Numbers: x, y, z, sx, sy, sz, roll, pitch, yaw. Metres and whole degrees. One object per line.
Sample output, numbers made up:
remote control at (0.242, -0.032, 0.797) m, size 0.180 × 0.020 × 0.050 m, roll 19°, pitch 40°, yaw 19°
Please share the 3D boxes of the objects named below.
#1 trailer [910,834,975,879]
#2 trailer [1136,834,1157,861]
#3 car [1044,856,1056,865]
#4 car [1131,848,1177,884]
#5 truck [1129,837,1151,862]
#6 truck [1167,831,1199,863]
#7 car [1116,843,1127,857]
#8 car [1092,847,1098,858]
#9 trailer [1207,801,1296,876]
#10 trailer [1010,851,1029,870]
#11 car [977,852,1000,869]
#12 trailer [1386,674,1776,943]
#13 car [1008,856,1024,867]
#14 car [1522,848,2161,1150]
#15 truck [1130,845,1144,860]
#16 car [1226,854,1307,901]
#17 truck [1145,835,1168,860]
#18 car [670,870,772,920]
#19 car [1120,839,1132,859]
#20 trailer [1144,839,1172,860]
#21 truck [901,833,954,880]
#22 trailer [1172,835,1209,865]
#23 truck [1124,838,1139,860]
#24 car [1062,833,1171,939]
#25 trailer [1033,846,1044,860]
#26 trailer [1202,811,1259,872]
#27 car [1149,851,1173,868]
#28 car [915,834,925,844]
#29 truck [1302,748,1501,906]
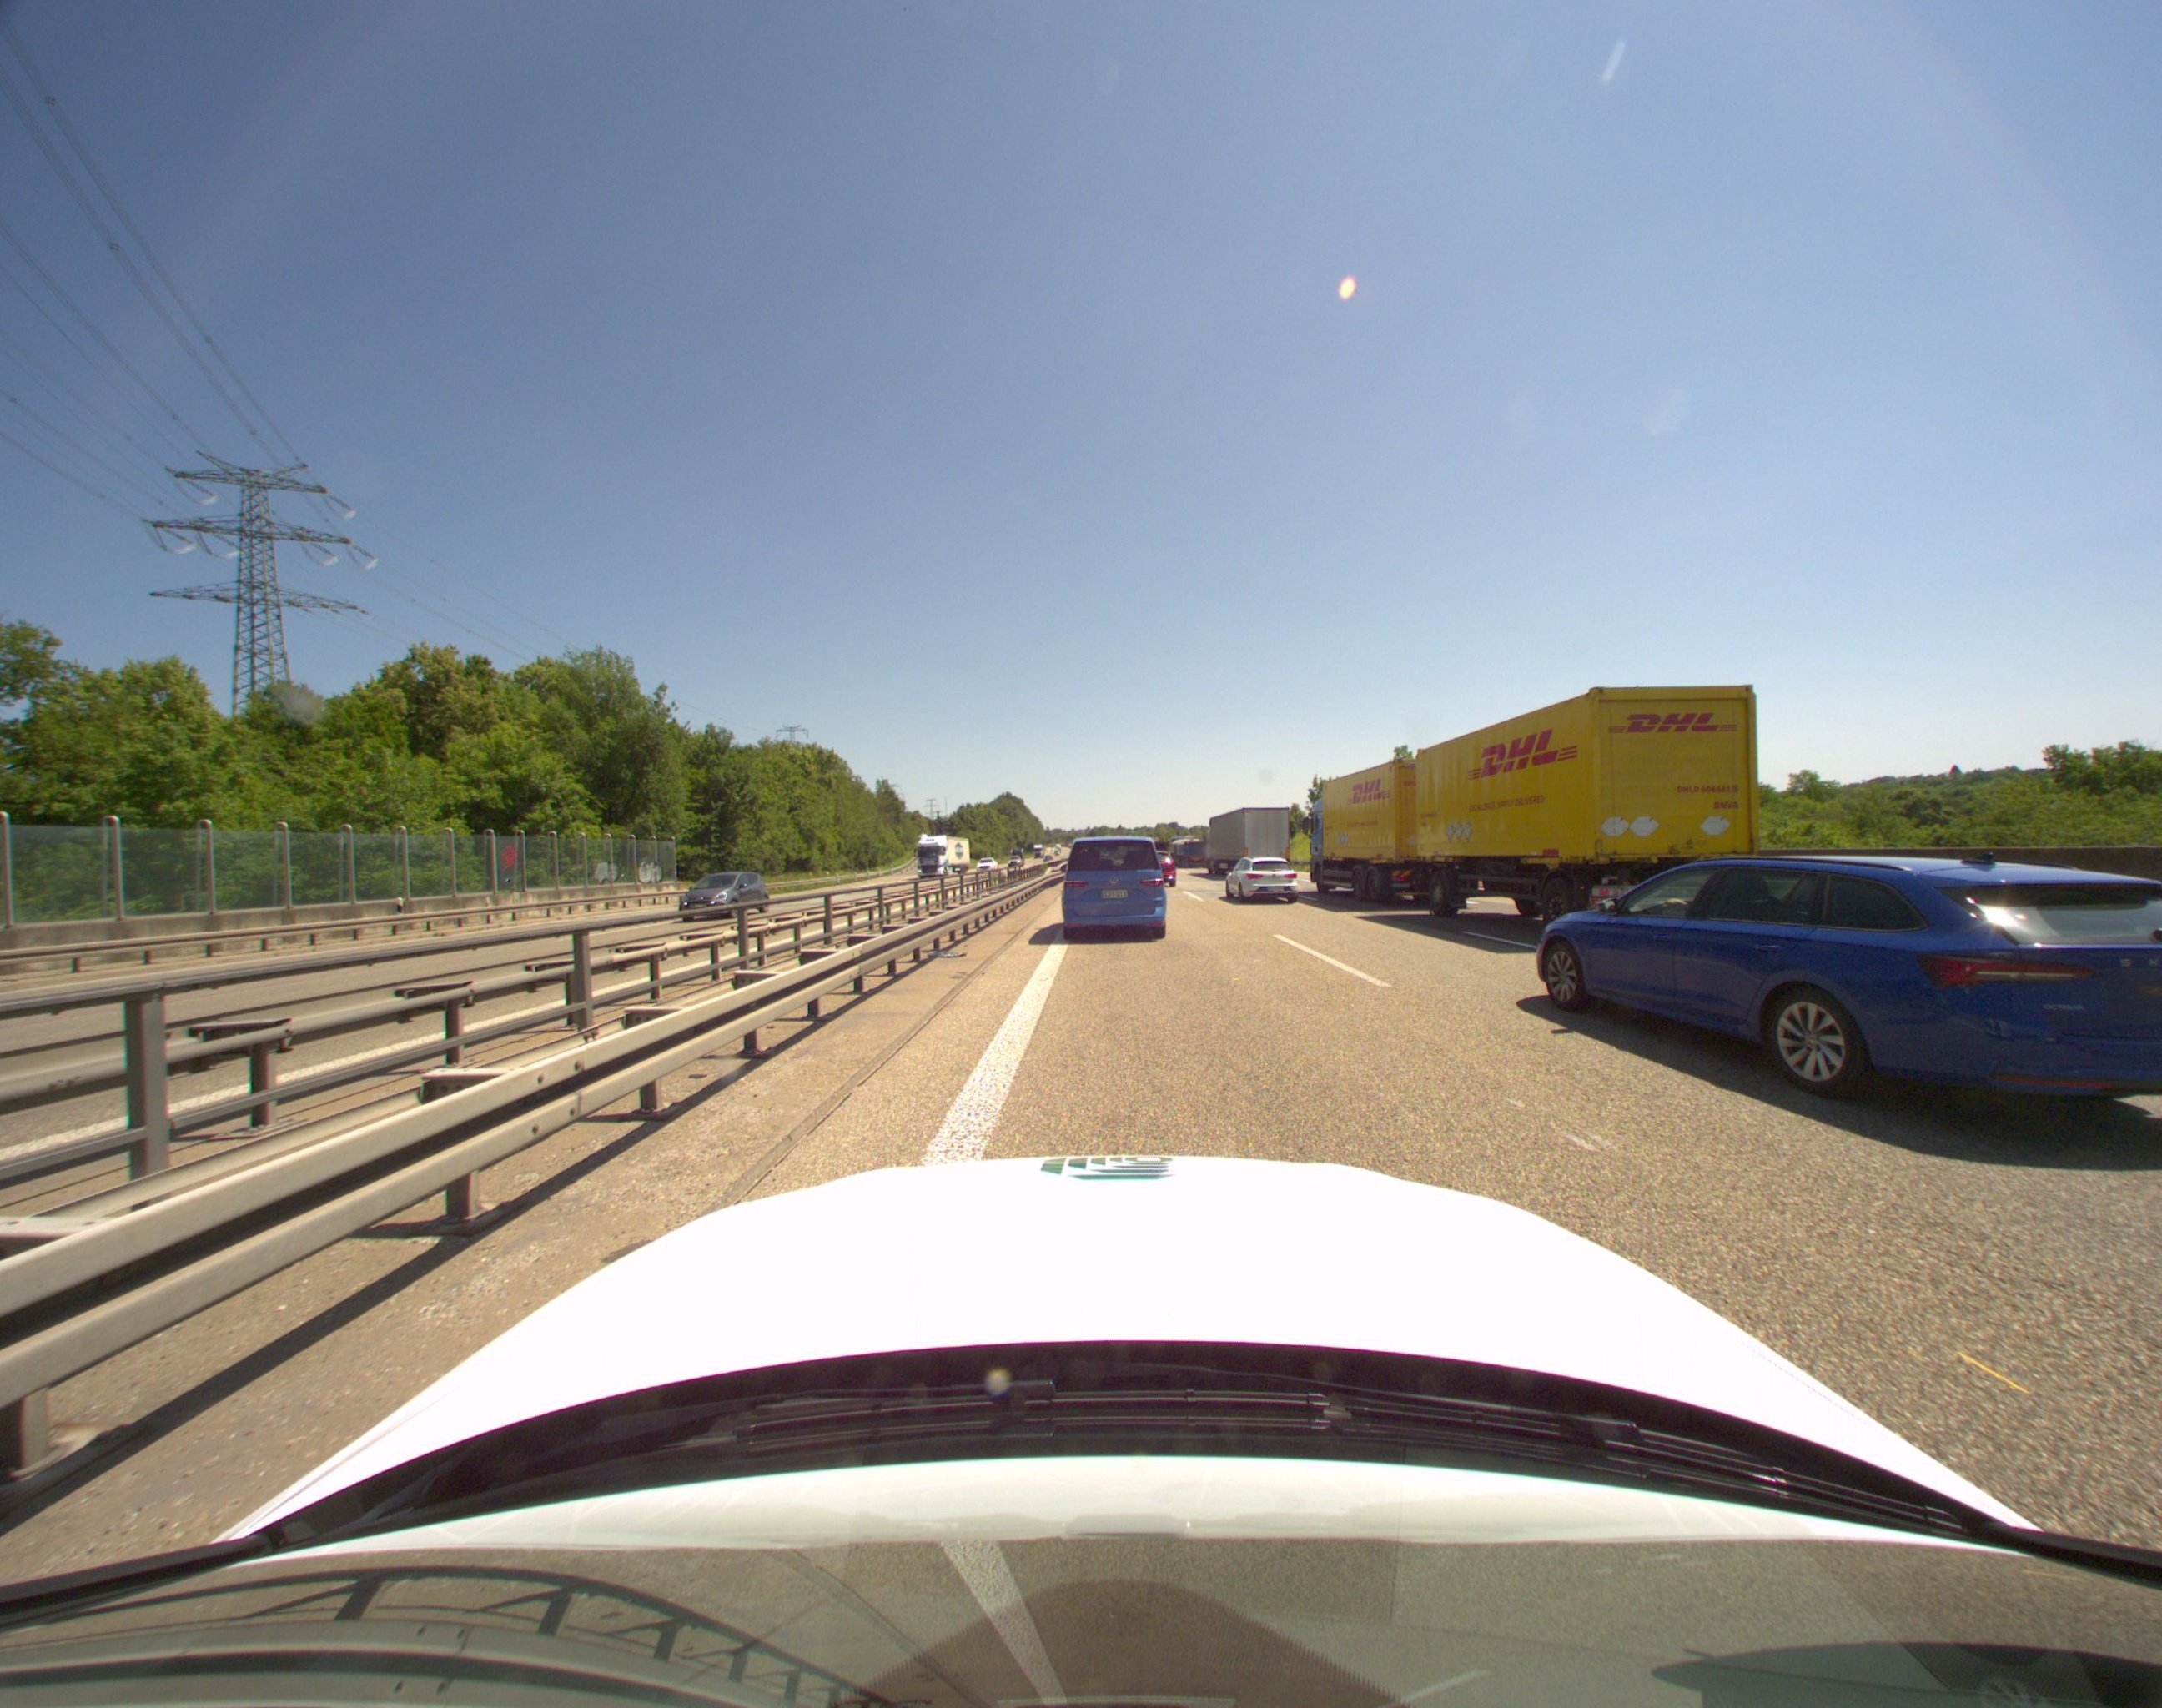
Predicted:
trailer at (-14.510, 0.301, 87.007) m, size 3.974 × 4.235 × 14.045 m, roll -2°, pitch -1°, yaw 2°
trailer at (12.639, -1.131, 158.663) m, size 3.631 × 5.136 × 13.085 m, roll 0°, pitch -1°, yaw 3°
car at (-5.496, 1.203, 144.309) m, size 1.785 × 1.572 × 4.002 m, roll 0°, pitch -1°, yaw 2°
car at (3.311, 0.550, 37.730) m, size 1.864 × 1.552 × 4.001 m, roll 0°, pitch -1°, yaw 1°
truck at (12.818, -0.868, 179.133) m, size 3.610 × 5.212 × 15.684 m, roll 0°, pitch -1°, yaw 0°
truck at (11.125, -0.816, 89.554) m, size 2.734 × 3.311 × 7.135 m, roll 0°, pitch 1°, yaw 1°
car at (8.544, -0.854, 172.400) m, size 2.276 × 3.008 × 5.579 m, roll 0°, pitch -1°, yaw 4°
car at (4.426, -0.364, 257.739) m, size 1.987 × 3.413 × 4.000 m, roll 0°, pitch -1°, yaw 1°
trailer at (10.358, -0.845, 51.289) m, size 2.952 × 4.049 × 13.755 m, roll -1°, pitch 0°, yaw 1°
trailer at (-9.614, 1.050, 128.195) m, size 2.158 × 2.777 × 5.378 m, roll -5°, pitch -1°, yaw 2°
car at (-9.835, 0.714, 86.622) m, size 1.742 × 1.696 × 4.387 m, roll -3°, pitch -1°, yaw 2°
trailer at (9.418, -0.686, 17.192) m, size 2.755 × 4.117 × 9.381 m, roll 0°, pitch 0°, yaw 2°
car at (-9.772, 1.099, 123.241) m, size 1.863 × 1.625 × 4.630 m, roll 0°, pitch -1°, yaw 2°
car at (5.307, 0.711, 6.109) m, size 1.700 × 1.441 × 4.429 m, roll 0°, pitch -1°, yaw 2°
truck at (7.375, -0.187, 107.387) m, size 1.719 × 1.857 × 4.000 m, roll 0°, pitch -1°, yaw 1°
car at (5.846, 0.694, 26.135) m, size 1.860 × 1.361 × 4.002 m, roll 0°, pitch 0°, yaw 2°
truck at (12.530, -1.037, 136.455) m, size 3.610 × 4.094 × 7.530 m, roll 0°, pitch -1°, yaw 3°
car at (-11.860, 1.306, 27.062) m, size 1.646 × 1.462 × 3.543 m, roll -3°, pitch -1°, yaw 2°
car at (12.419, -1.378, 226.193) m, size 3.207 × 5.257 × 8.145 m, roll 0°, pitch -1°, yaw 1°
trailer at (12.022, -0.591, 128.443) m, size 3.631 × 3.079 × 15.783 m, roll 0°, pitch 0°, yaw 3°
truck at (-14.778, 0.261, 78.827) m, size 3.992 × 4.228 × 4.859 m, roll -2°, pitch -1°, yaw 1°
trailer at (10.962, -0.432, 82.291) m, size 2.734 × 2.836 × 9.118 m, roll 0°, pitch 1°, yaw 1°
truck at (12.107, -1.139, 196.884) m, size 3.058 × 4.920 × 10.690 m, roll 0°, pitch -1°, yaw 1°
car at (0.695, 0.574, 16.178) m, size 1.894 × 1.838 × 4.002 m, roll 0°, pitch -1°, yaw 2°
trailer at (-12.977, -0.229, 247.577) m, size 2.747 × 3.976 × 6.133 m, roll -3°, pitch 0°, yaw 1°
trailer at (10.516, -0.879, 57.882) m, size 2.914 × 4.043 × 6.412 m, roll -1°, pitch 0°, yaw 1°
car at (7.030, 0.483, 71.761) m, size 1.833 × 1.454 × 4.002 m, roll 0°, pitch -1°, yaw 2°
car at (-48.735, -4.523, 246.760) m, size 2.074 × 2.880 × 6.692 m, roll -2°, pitch -1°, yaw -18°
truck at (9.704, -0.698, 26.220) m, size 2.755 × 4.109 × 9.956 m, roll 0°, pitch 0°, yaw 2°
